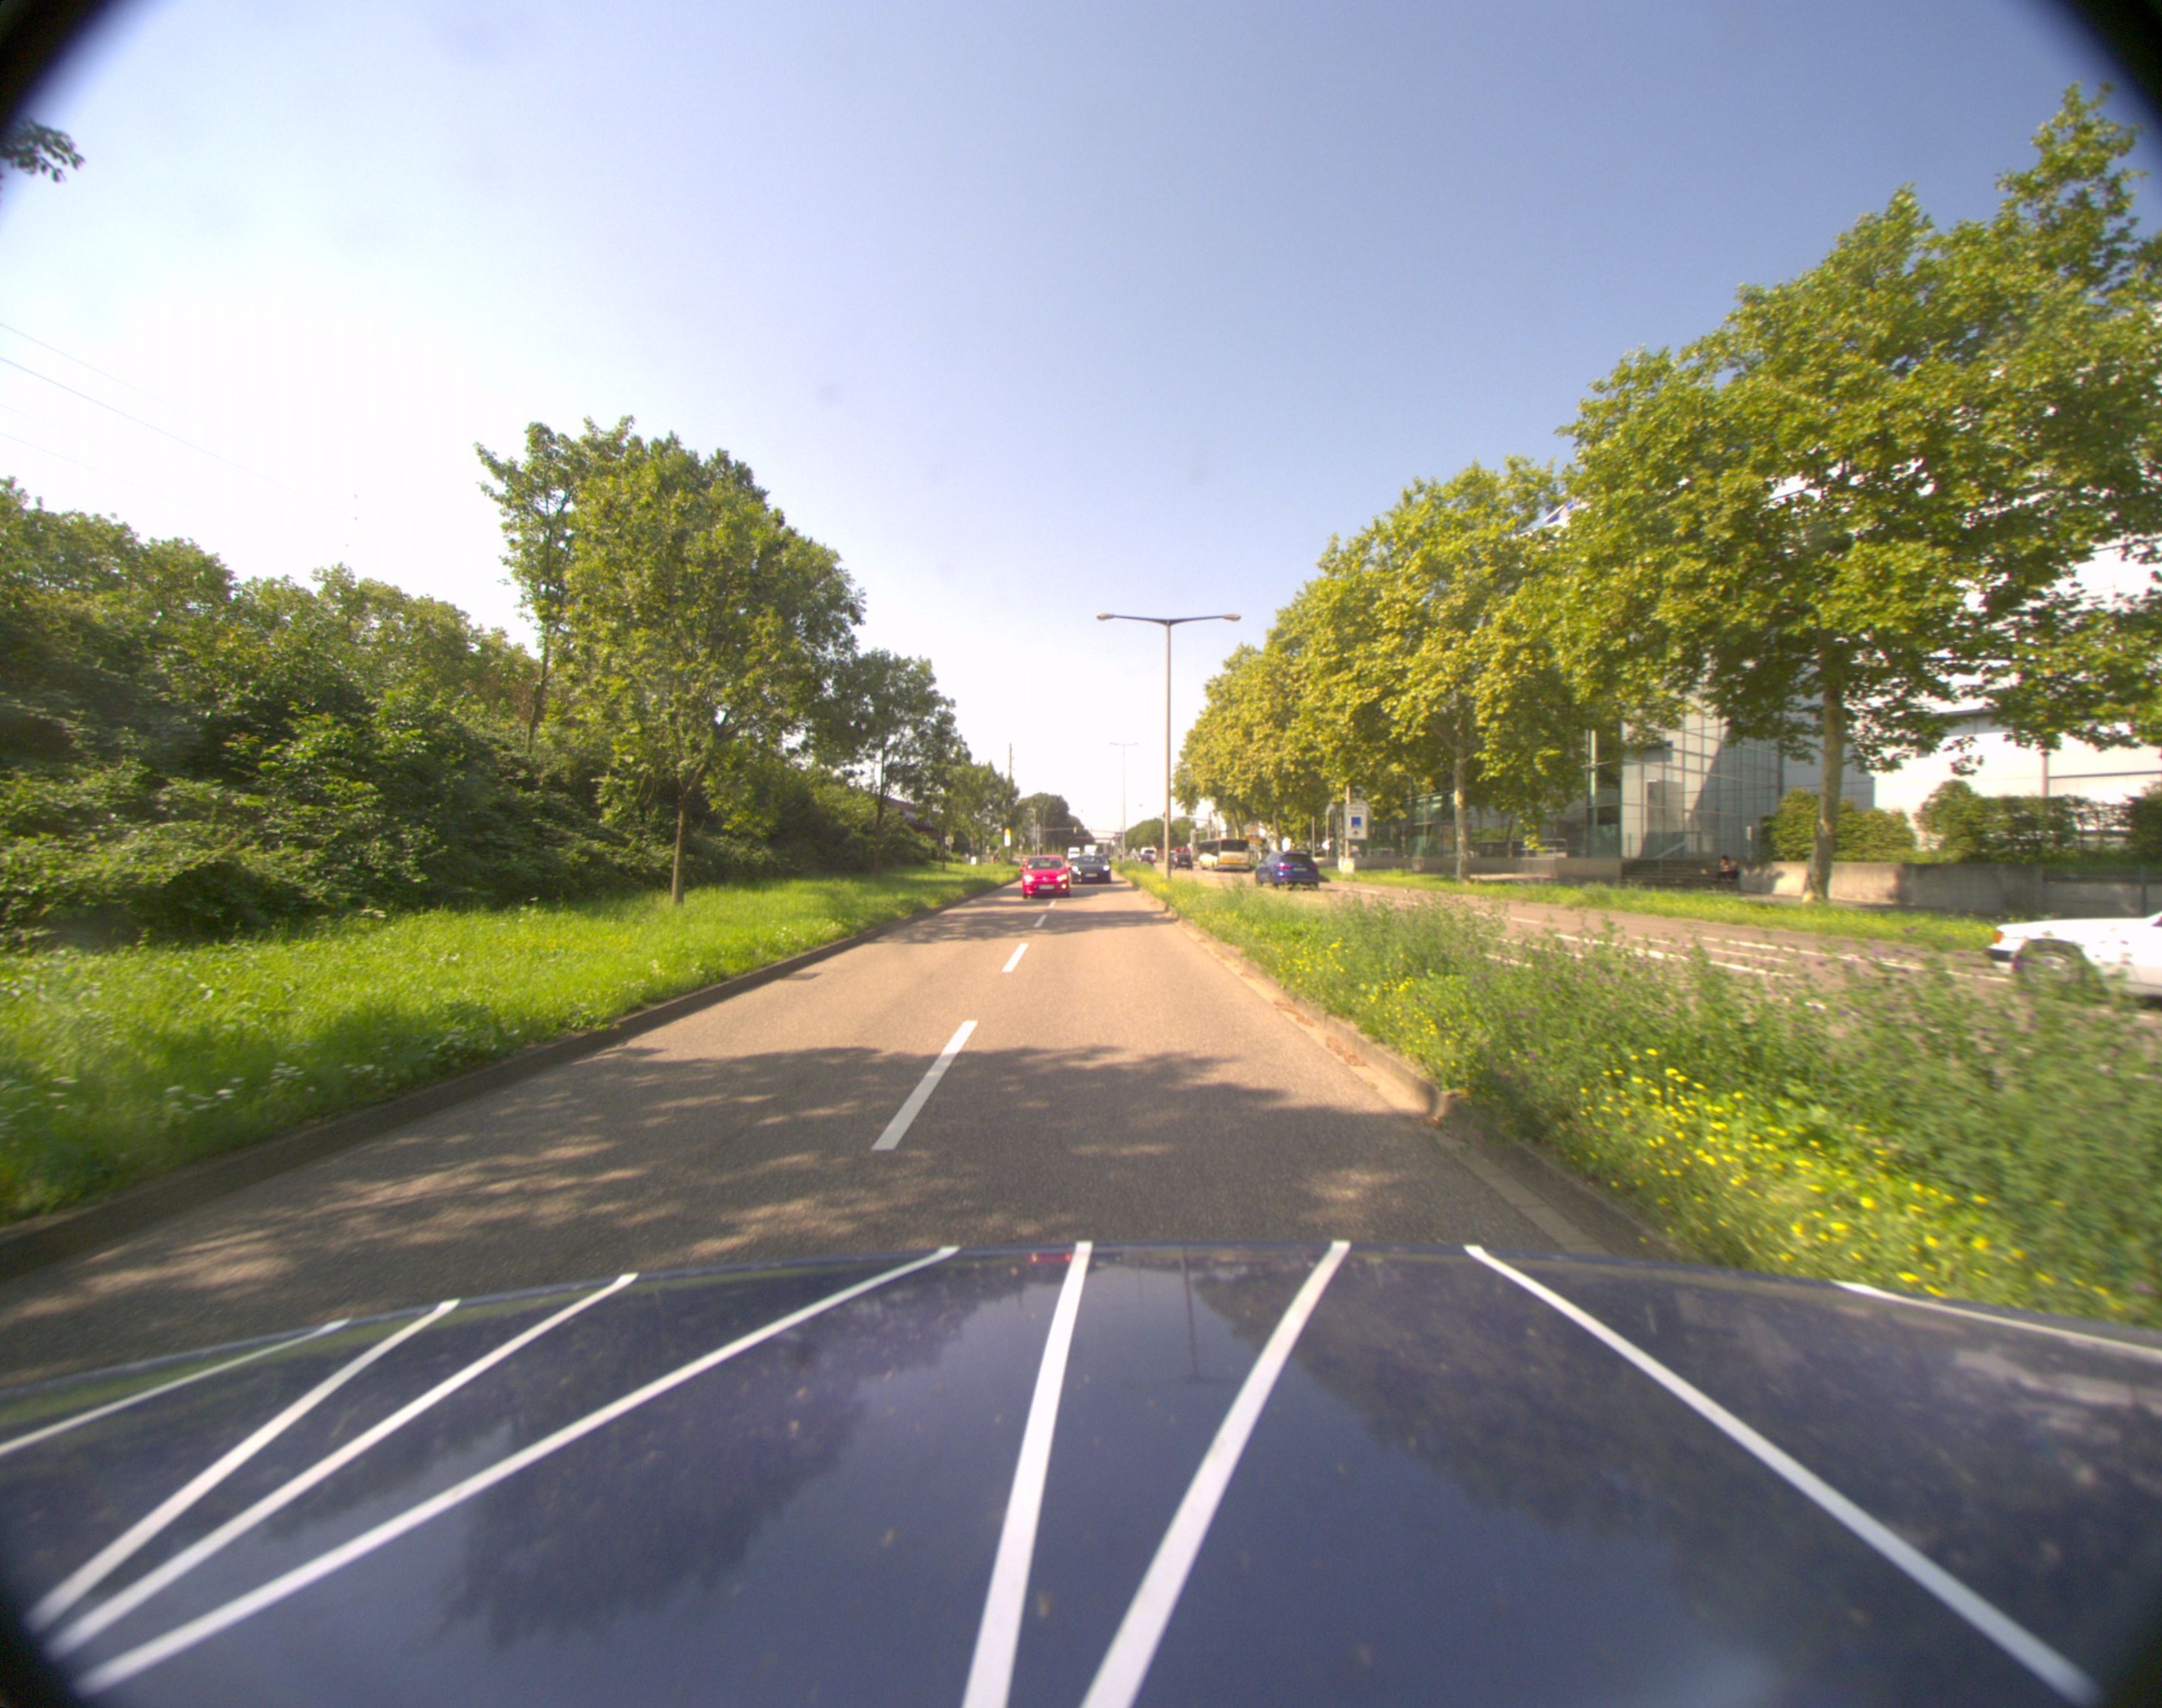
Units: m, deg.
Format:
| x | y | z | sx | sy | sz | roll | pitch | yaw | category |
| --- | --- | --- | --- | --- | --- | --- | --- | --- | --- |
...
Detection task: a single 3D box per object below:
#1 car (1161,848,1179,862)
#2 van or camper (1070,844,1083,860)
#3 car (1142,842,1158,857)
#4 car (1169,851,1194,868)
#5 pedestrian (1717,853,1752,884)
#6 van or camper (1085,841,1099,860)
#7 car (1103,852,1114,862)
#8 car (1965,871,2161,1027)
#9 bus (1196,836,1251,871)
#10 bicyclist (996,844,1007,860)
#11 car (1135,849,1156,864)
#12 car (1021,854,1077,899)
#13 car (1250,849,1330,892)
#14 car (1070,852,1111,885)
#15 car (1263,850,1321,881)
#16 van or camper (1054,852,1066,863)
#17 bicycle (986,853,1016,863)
| x | y | z | sx | sy | sz | roll | pitch | yaw | category |
| --- | --- | --- | --- | --- | --- | --- | --- | --- | --- |
| 12.696 | 0.184 | 108.616 | 1.932 | 1.885 | 3.975 | 2 | 1 | -1 | car |
| -0.818 | -0.374 | 138.021 | 2.248 | 2.467 | 6.869 | -2 | -2 | 1 | van or camper |
| 9.587 | -0.630 | 105.992 | 1.931 | 1.949 | 5.188 | 2 | 2 | 2 | car |
| 9.025 | 0.462 | 68.278 | 1.709 | 1.481 | 4.312 | -1 | 0 | 1 | car |
| 24.365 | 0.547 | 28.334 | 0.737 | 1.103 | 0.562 | -2 | -2 | -4 | pedestrian |
| 2.089 | -0.611 | 142.570 | 2.247 | 3.341 | 6.855 | -2 | -2 | 3 | van or camper |
| 5.171 | 0.644 | 142.708 | 1.904 | 1.603 | 5.199 | -2 | -2 | 3 | car |
| 11.042 | 0.942 | 6.433 | 1.800 | 1.409 | 4.408 | 1 | 1 | -3 | car |
| 12.133 | -0.062 | 65.701 | 2.668 | 2.679 | 10.904 | 2 | 1 | 0 | bus |
| -8.539 | -0.214 | 81.720 | 0.971 | 1.648 | 0.711 | 0 | 0 | -25 | bicyclist |
| 6.667 | 0.273 | 78.783 | 1.850 | 1.481 | 4.643 | 1 | 0 | 1 | car |
| -1.210 | 0.766 | 27.067 | 1.643 | 1.458 | 3.551 | -2 | 0 | -7 | car |
| 8.535 | 0.635 | 31.432 | 1.999 | 1.575 | 4.346 | 2 | 0 | 0 | car |
| 0.424 | 0.719 | 37.590 | 1.643 | 1.458 | 3.553 | -3 | -1 | -5 | car |
| 11.591 | 0.567 | 42.093 | 1.850 | 1.596 | 4.610 | -1 | 0 | -1 | car |
| -3.720 | 0.593 | 134.796 | 1.850 | 1.765 | 4.176 | -2 | -2 | 1 | van or camper |
| -8.576 | 0.406 | 81.634 | 2.982 | 1.043 | 1.233 | 0 | 0 | -25 | bicycle |
